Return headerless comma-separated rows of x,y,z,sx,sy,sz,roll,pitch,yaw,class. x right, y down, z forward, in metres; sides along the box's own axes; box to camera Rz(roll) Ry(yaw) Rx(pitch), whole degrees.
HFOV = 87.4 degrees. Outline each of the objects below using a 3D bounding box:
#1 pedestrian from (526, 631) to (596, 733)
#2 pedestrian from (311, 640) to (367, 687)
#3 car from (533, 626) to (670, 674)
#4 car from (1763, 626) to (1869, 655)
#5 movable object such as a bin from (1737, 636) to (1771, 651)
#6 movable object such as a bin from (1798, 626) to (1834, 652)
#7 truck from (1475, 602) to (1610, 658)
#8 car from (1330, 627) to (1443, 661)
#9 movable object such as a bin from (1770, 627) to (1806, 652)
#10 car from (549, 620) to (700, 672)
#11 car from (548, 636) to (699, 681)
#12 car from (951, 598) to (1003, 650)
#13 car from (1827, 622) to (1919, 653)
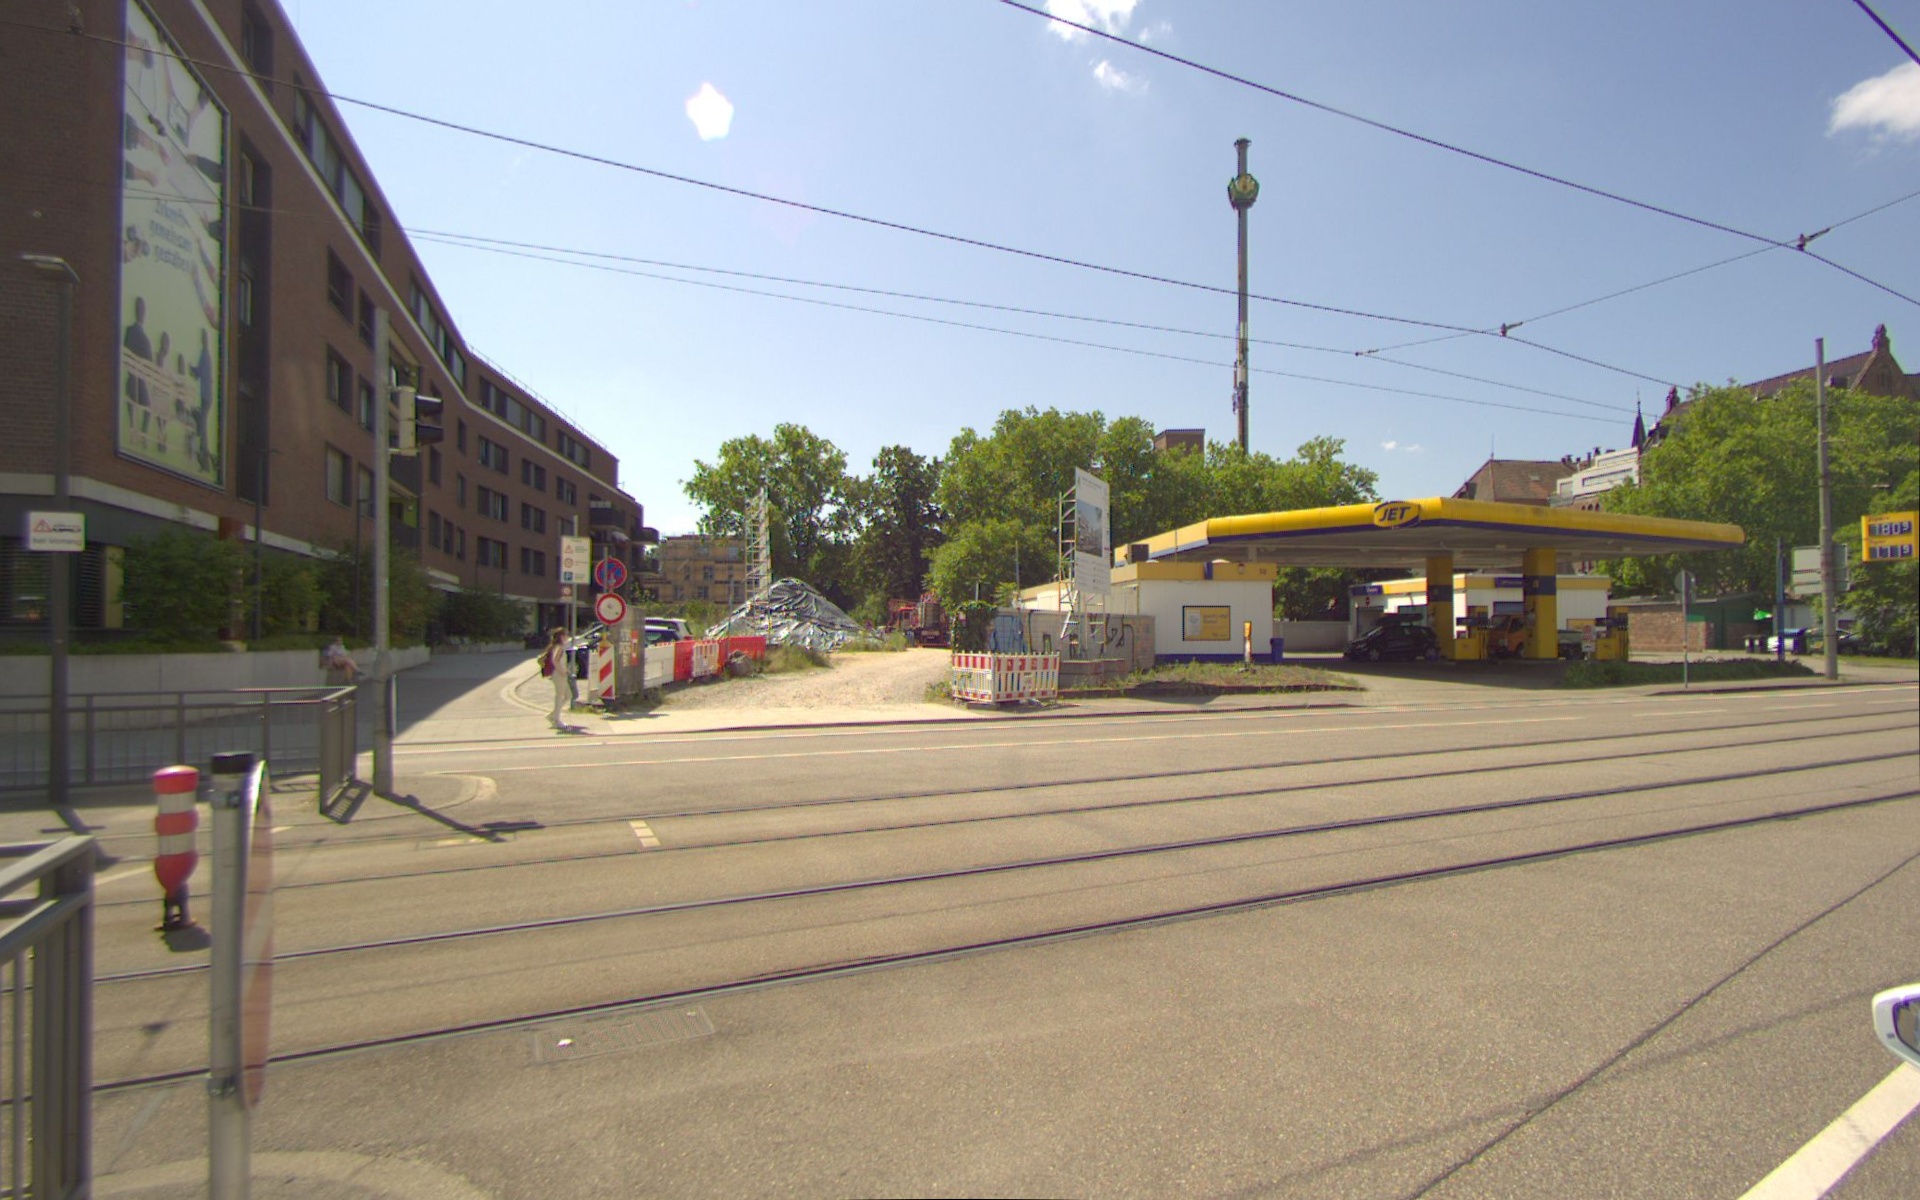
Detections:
-6.739,1.357,16.957,0.988,1.617,0.756,1,2,-29,pedestrian
-15.470,1.567,25.024,0.909,1.145,0.761,0,-2,14,pedestrian
-11.211,1.532,31.556,3.939,1.439,1.668,1,-2,-20,car
49.710,2.352,58.419,4.246,1.613,1.911,0,-1,16,car
45.914,2.506,58.105,0.745,0.885,1.346,0,-2,-11,movable object such as a bin
46.497,2.125,54.553,0.750,1.372,1.336,1,-2,-33,movable object such as a bin
26.883,1.394,46.480,5.101,2.531,2.000,0,-2,-1,truck
19.264,1.995,45.476,4.258,1.498,2.000,0,-2,-3,car
46.390,2.198,56.273,0.746,1.372,1.343,1,-2,-19,movable object such as a bin
-11.456,1.555,34.354,4.766,1.672,2.112,1,-2,-21,car
-9.733,1.683,29.307,3.928,1.176,1.824,0,0,-10,car
0.896,1.389,56.708,2.083,2.811,4.490,0,-1,-11,car
48.886,1.975,53.050,4.245,1.611,2.001,0,-1,13,car
